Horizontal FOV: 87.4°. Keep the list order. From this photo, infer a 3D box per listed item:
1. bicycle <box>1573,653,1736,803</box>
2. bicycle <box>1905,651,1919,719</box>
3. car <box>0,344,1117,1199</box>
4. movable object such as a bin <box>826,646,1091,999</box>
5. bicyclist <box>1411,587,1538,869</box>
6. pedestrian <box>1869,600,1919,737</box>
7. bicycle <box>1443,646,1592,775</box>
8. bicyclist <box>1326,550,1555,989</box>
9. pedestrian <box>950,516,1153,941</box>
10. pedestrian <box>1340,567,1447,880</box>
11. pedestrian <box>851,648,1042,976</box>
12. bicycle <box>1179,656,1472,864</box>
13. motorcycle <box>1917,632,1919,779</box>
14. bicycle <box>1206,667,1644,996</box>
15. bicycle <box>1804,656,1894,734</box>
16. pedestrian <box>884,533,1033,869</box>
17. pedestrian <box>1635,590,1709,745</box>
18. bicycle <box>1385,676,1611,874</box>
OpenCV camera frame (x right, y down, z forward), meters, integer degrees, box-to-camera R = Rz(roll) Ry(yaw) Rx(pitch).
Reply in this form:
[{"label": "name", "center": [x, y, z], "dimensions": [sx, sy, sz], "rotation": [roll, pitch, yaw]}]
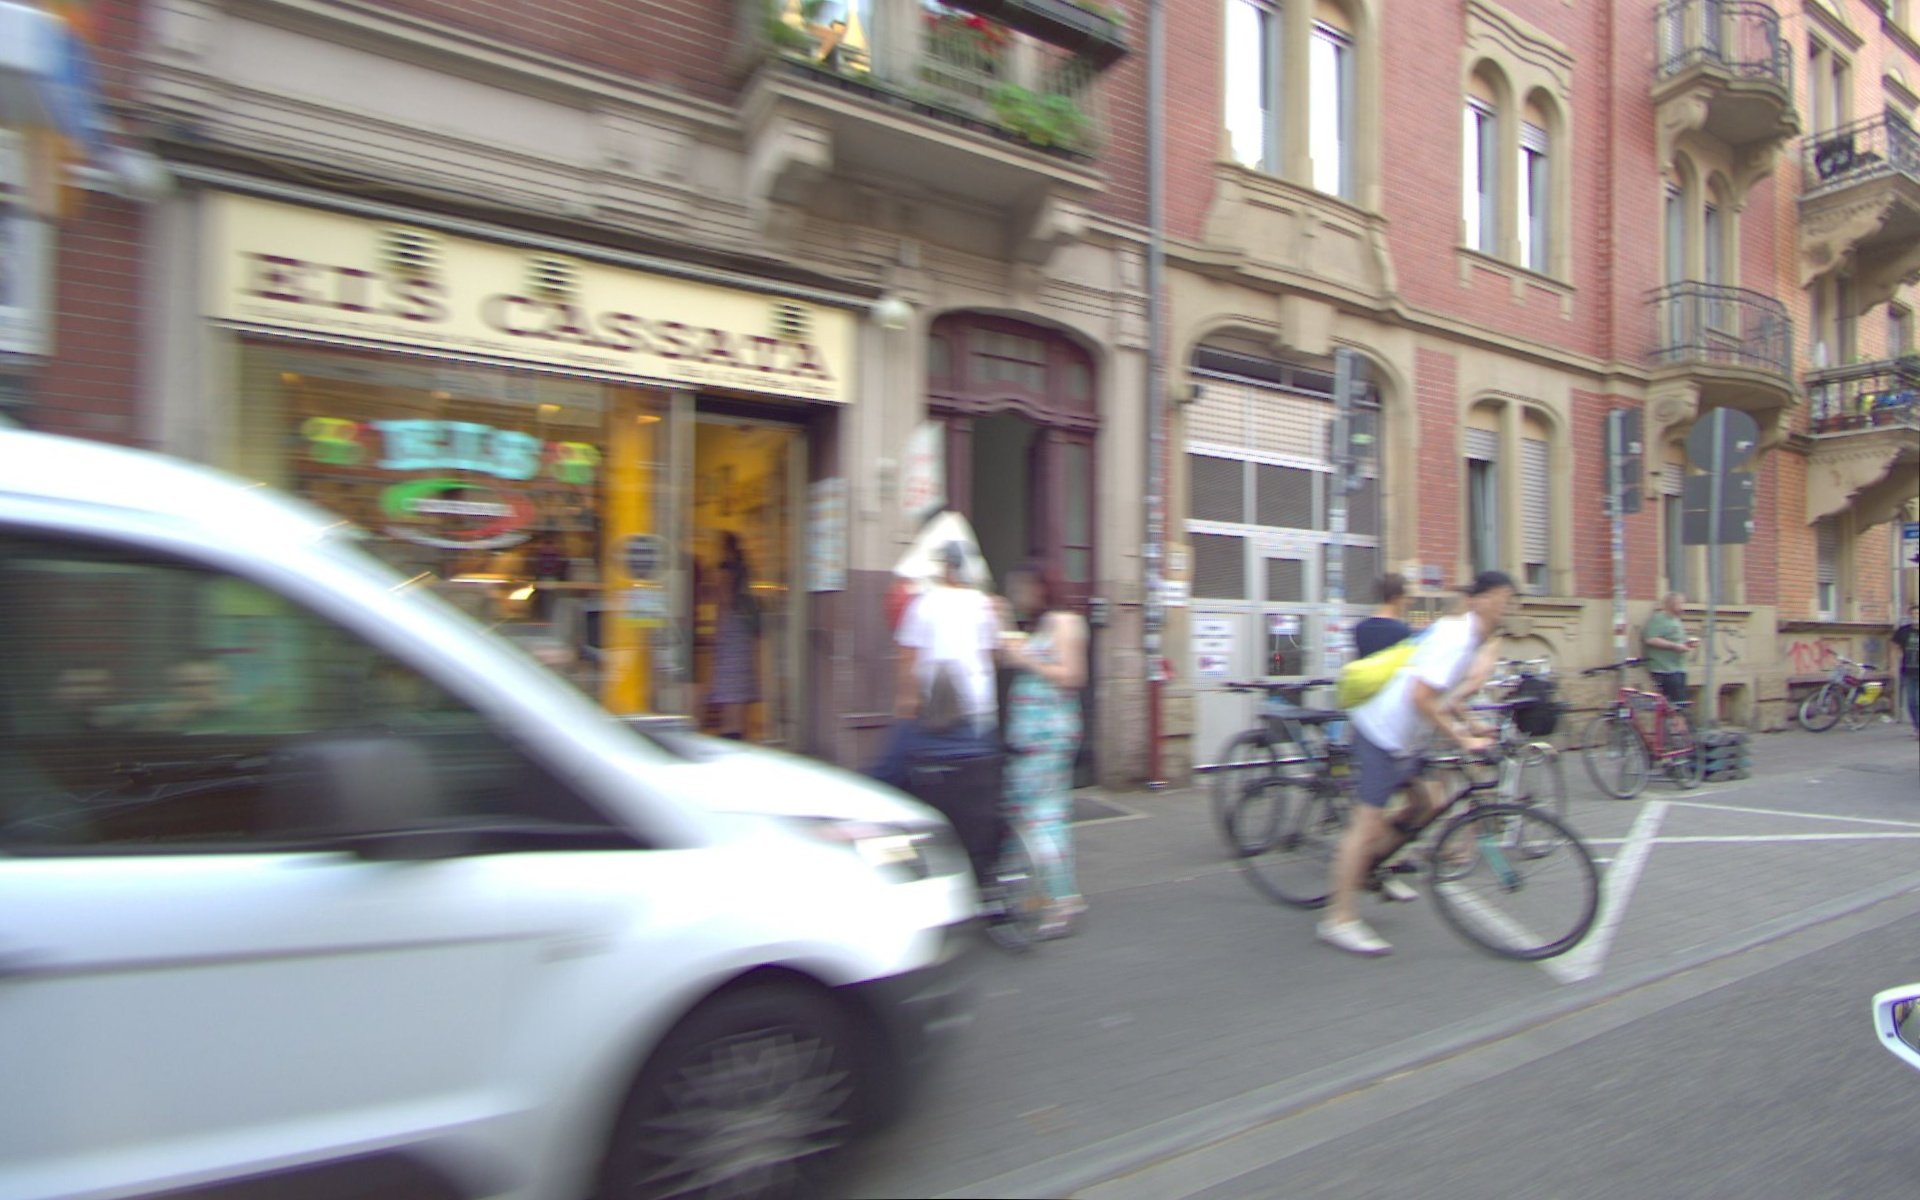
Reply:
[{"label": "bicycle", "center": [5.997, 1.062, 8.638], "dimensions": [1.816, 1.175, 0.410], "rotation": [2, -1, -31]}, {"label": "bicycle", "center": [16.721, 1.438, 17.005], "dimensions": [2.007, 1.116, 0.744], "rotation": [2, -1, -38]}, {"label": "car", "center": [-1.962, 0.524, 2.203], "dimensions": [4.538, 1.812, 1.760], "rotation": [2, -1, -33]}, {"label": "movable object such as a bin", "center": [-0.030, 0.853, 4.299], "dimensions": [0.767, 1.267, 0.883], "rotation": [2, -1, -30]}, {"label": "bicyclist", "center": [3.105, 0.739, 6.073], "dimensions": [0.481, 1.611, 0.464], "rotation": [2, 0, -28]}, {"label": "pedestrian", "center": [13.169, 0.938, 13.895], "dimensions": [0.952, 1.834, 0.677], "rotation": [2, -1, -36]}, {"label": "bicycle", "center": [5.561, 1.066, 9.986], "dimensions": [1.816, 1.175, 0.410], "rotation": [2, -1, -31]}, {"label": "bicyclist", "center": [2.107, 0.668, 4.408], "dimensions": [0.777, 1.726, 0.527], "rotation": [1, -1, 38]}, {"label": "pedestrian", "center": [0.439, 0.565, 4.814], "dimensions": [0.714, 1.838, 0.593], "rotation": [2, -1, -40]}, {"label": "pedestrian", "center": [2.514, 0.685, 5.832], "dimensions": [0.347, 1.731, 0.415], "rotation": [2, 0, -36]}, {"label": "pedestrian", "center": [-0.061, 0.852, 4.319], "dimensions": [0.645, 1.267, 0.475], "rotation": [2, -1, -31]}, {"label": "bicycle", "center": [2.356, 0.965, 6.398], "dimensions": [1.973, 1.170, 0.464], "rotation": [2, -1, -25]}, {"label": "motorcycle", "center": [10.326, 1.054, 9.926], "dimensions": [1.990, 1.423, 0.682], "rotation": [2, -1, -29]}, {"label": "bicycle", "center": [2.088, 0.951, 4.665], "dimensions": [1.755, 1.170, 0.519], "rotation": [1, -1, 38]}, {"label": "bicycle", "center": [12.776, 1.343, 14.415], "dimensions": [1.720, 1.043, 0.445], "rotation": [2, -1, -30]}, {"label": "pedestrian", "center": [-0.023, 0.564, 5.856], "dimensions": [0.708, 1.838, 0.598], "rotation": [2, 0, -13]}, {"label": "pedestrian", "center": [8.615, 0.802, 12.151], "dimensions": [0.633, 1.813, 0.461], "rotation": [2, 0, -28]}, {"label": "bicycle", "center": [3.347, 1.026, 6.214], "dimensions": [1.501, 1.082, 0.464], "rotation": [2, -1, -28]}]
